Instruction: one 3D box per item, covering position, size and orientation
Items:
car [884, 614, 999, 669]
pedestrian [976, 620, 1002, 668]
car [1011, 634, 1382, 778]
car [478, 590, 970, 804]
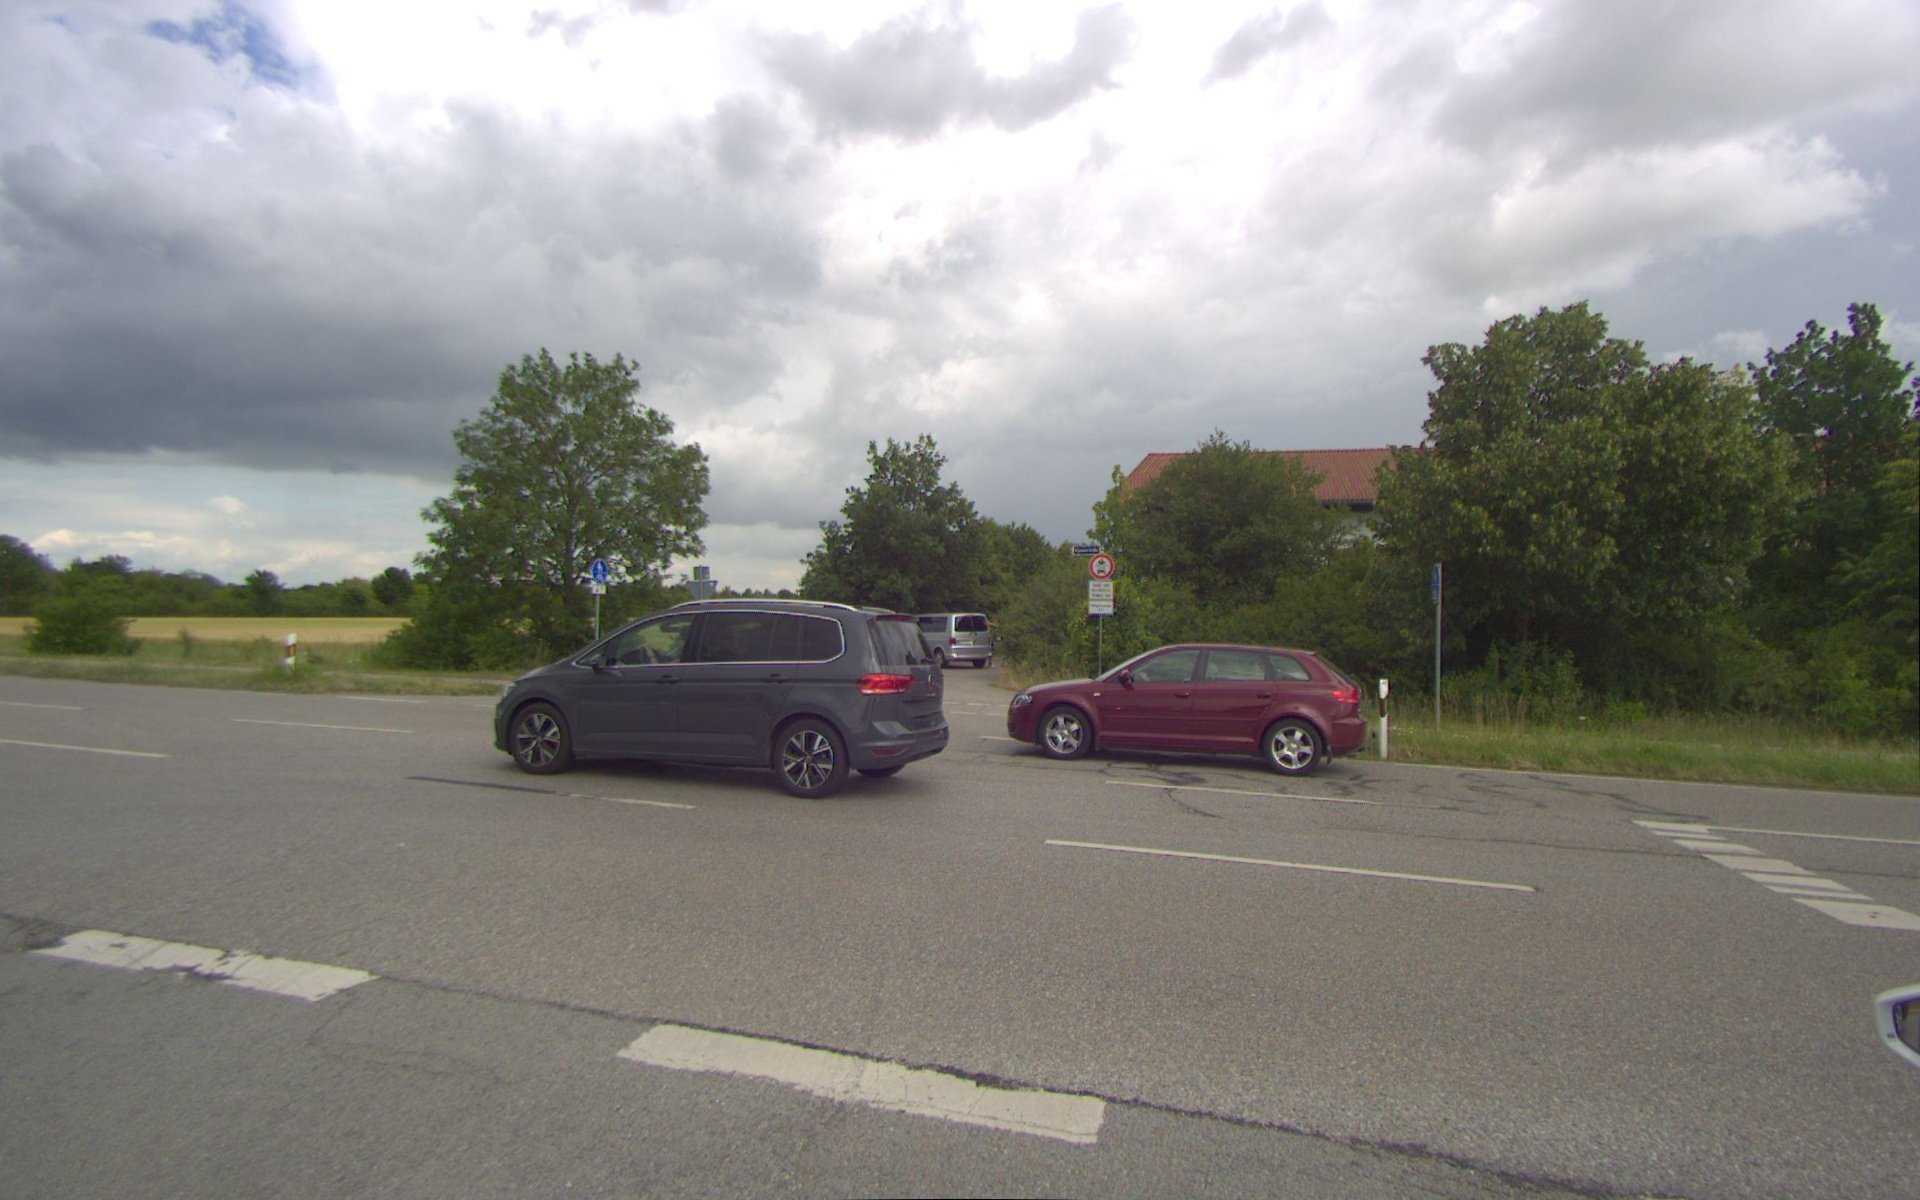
[{"bbox_3d":[-0.791,1.475,37.717,2.089,1.911,5.058,0,-1,-31],"label":"car"},{"bbox_3d":[1.078,1.611,37.121,0.690,1.746,0.732,1,-1,25],"label":"pedestrian"},{"bbox_3d":[2.776,1.168,11.965,4.008,1.420,1.679,1,-2,18],"label":"car"},{"bbox_3d":[-2.185,0.810,9.545,4.205,1.680,1.755,1,-2,17],"label":"car"}]
